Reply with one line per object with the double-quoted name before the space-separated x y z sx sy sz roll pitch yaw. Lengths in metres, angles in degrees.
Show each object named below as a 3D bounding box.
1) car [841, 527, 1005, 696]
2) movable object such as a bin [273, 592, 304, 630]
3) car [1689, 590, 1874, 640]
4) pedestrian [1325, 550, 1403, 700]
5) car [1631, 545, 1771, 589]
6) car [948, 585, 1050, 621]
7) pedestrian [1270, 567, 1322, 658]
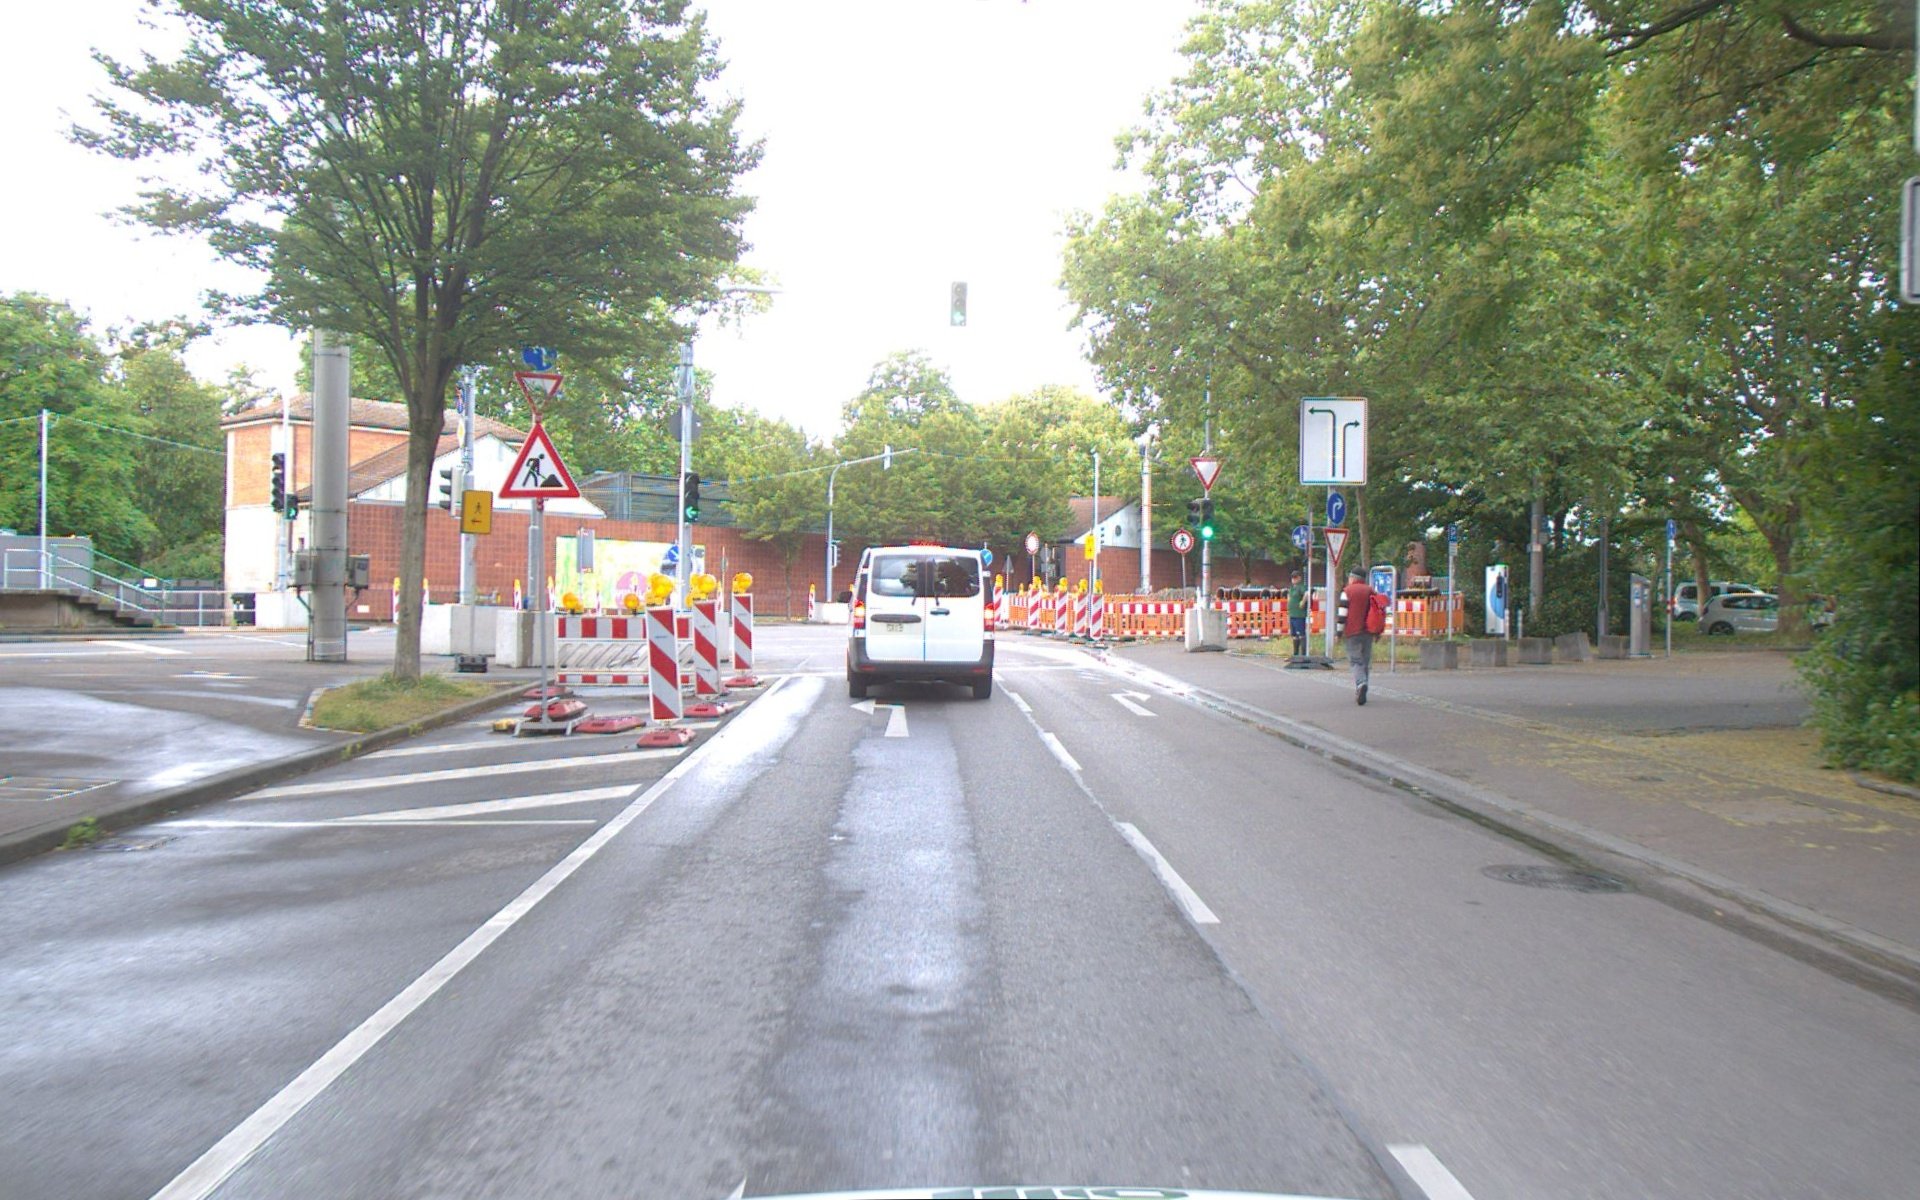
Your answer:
"car" -0.501 0.215 22.524 1.879 1.935 4.699 4 -2 -1
"movable object such as a bin" -24.403 0.393 60.122 0.844 1.364 0.788 0 -1 -44
"car" 23.175 0.432 46.751 4.425 1.349 1.710 0 -1 42
"pedestrian" 5.135 0.310 21.073 0.763 1.863 0.727 -1 0 -1
"car" 27.158 -1.197 60.684 4.420 1.497 1.712 0 -1 38
"car" 1.757 0.159 73.673 4.414 1.468 1.854 2 -2 -39
"pedestrian" 6.463 0.231 31.852 0.717 1.727 0.836 -1 1 -10
